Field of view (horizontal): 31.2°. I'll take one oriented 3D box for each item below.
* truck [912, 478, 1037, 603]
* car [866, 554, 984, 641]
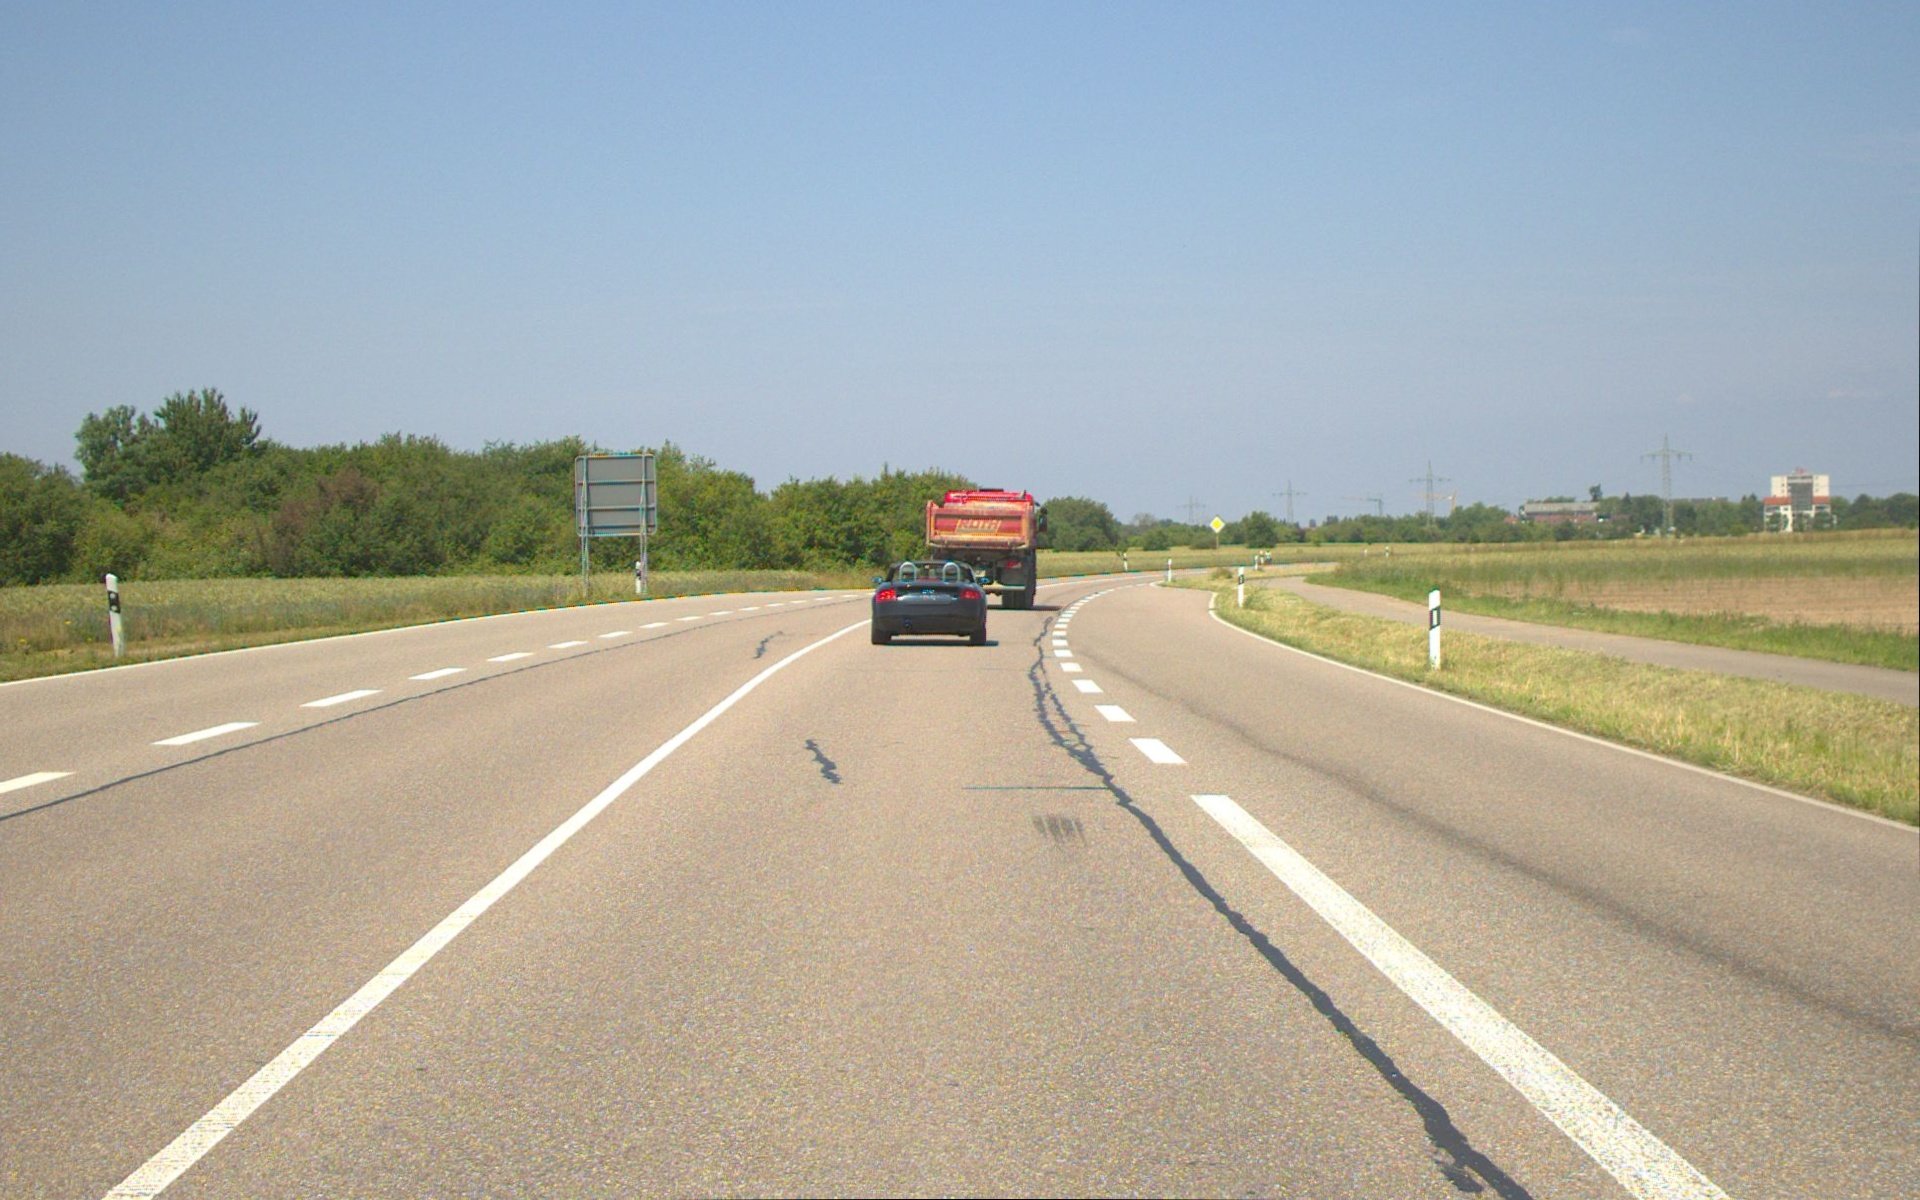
[{"bbox_3d":[0.438,-1.497,87.948,2.938,3.078,7.196,0,1,2],"label":"truck"},{"bbox_3d":[-0.516,-0.065,53.294,1.744,1.275,4.000,1,1,0],"label":"car"}]
